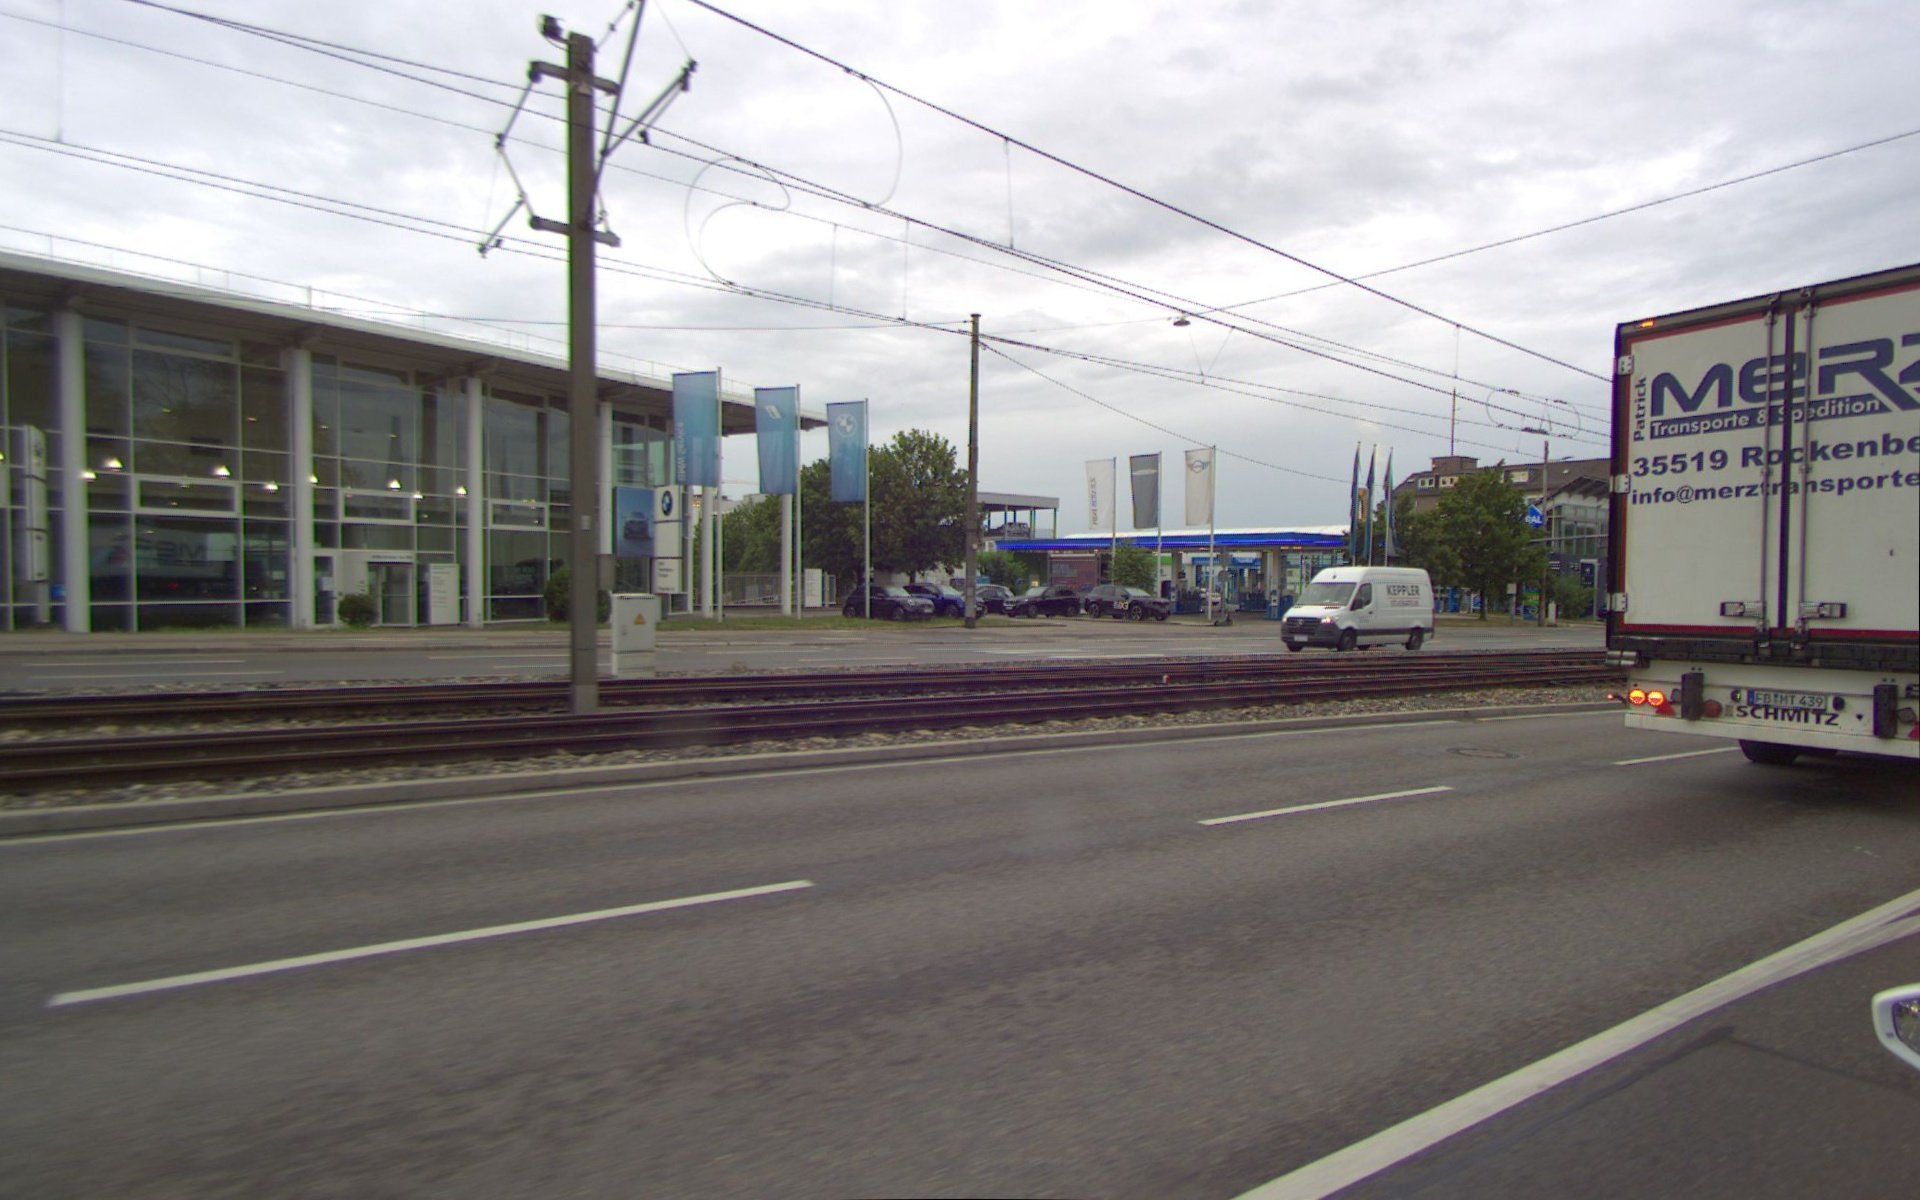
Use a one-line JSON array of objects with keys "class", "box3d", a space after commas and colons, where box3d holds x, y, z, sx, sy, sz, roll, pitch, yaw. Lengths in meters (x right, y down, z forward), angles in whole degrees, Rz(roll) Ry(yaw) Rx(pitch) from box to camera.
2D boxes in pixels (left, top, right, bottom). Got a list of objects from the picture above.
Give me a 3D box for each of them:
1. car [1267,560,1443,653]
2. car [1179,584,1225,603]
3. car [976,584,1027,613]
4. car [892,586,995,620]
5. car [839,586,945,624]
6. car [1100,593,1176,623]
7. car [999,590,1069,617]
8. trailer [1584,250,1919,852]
[{"class": "car", "box3d": [12.221, 0.198, 30.864, 6.106, 2.633, 2.036, 1, 1, -36]}, {"class": "car", "box3d": [22.536, -0.621, 93.728, 1.837, 1.662, 3.963, 1, 1, -33]}, {"class": "car", "box3d": [2.430, -0.069, 58.704, 2.775, 1.594, 1.371, 1, 1, -38]}, {"class": "car", "box3d": [-0.708, 0.135, 41.422, 3.933, 1.251, 1.755, 2, 0, 35]}, {"class": "car", "box3d": [-2.686, 0.162, 39.055, 3.933, 1.252, 1.697, 2, 3, 35]}, {"class": "car", "box3d": [8.478, 0.353, 48.156, 1.697, 1.291, 3.497, 1, 1, -31]}, {"class": "car", "box3d": [3.798, 0.182, 51.379, 3.401, 1.260, 1.573, 1, 1, -39]}, {"class": "trailer", "box3d": [11.798, -0.281, 11.570, 13.044, 4.309, 2.746, 1, 0, -34]}]
